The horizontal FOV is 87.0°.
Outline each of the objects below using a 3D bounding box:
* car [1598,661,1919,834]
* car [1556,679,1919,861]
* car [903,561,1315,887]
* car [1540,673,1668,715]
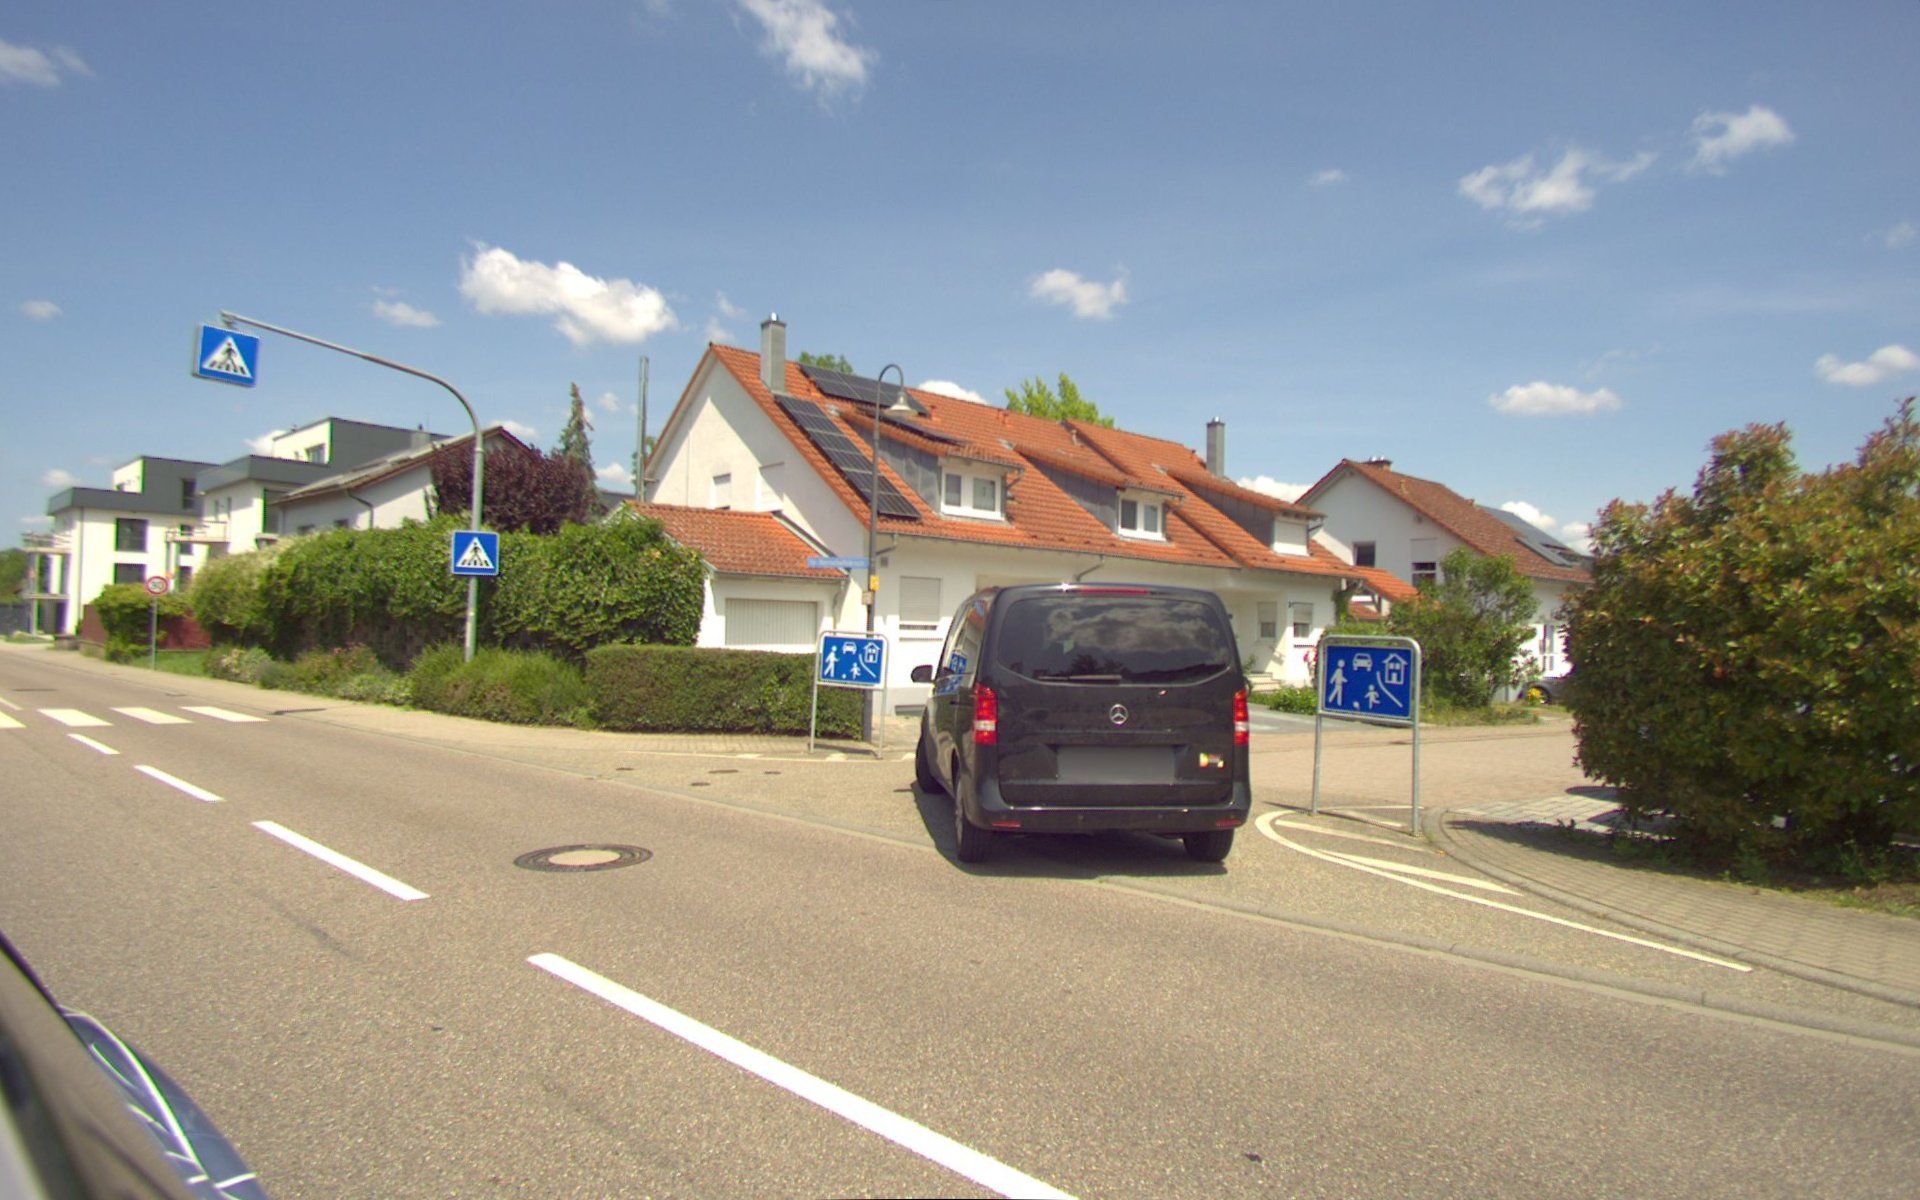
[{"bbox_3d":[9.134,1.466,10.537,3.998,1.562,1.747,-1,-4,42],"label":"car"},{"bbox_3d":[7.542,1.402,8.608,4.001,1.295,1.642,-2,-5,44],"label":"car"},{"bbox_3d":[0.772,0.855,8.466,1.968,1.866,5.078,2,-3,-9],"label":"car"},{"bbox_3d":[20.905,3.017,32.917,1.480,1.194,3.281,4,-4,-44],"label":"car"}]
